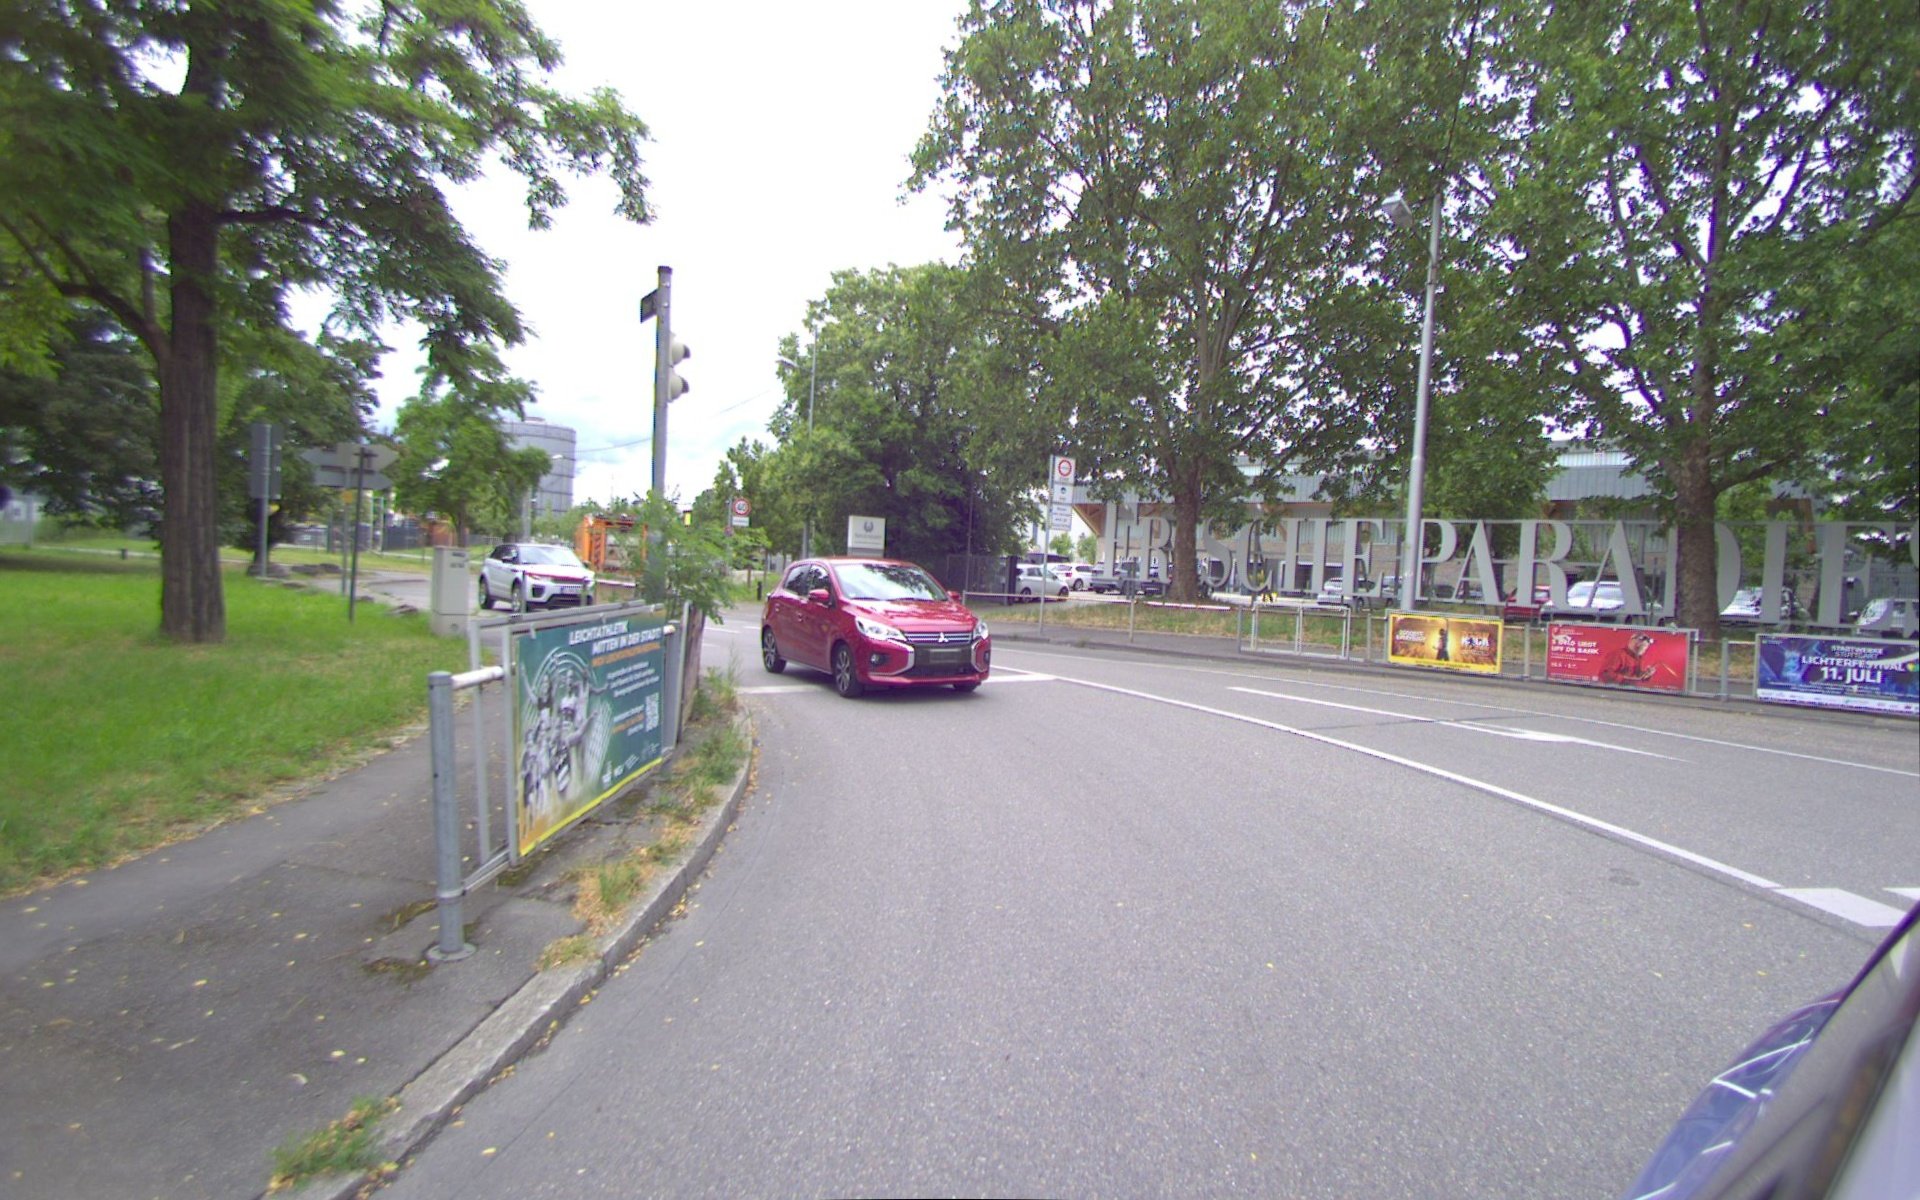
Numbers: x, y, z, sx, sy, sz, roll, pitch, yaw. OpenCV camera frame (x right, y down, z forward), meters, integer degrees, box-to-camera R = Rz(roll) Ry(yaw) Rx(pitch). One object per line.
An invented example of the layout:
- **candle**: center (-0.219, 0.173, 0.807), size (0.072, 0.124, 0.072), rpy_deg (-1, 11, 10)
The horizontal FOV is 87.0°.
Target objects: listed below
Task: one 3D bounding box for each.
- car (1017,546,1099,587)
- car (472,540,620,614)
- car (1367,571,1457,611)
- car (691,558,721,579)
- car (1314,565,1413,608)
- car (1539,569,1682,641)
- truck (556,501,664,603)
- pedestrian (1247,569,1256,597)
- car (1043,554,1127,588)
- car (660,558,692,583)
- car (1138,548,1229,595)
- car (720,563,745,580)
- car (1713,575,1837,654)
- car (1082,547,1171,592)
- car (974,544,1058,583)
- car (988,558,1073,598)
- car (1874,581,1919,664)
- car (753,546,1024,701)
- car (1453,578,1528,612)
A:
- **car**: center (5.594, -1.899, 57.289), size (4.560, 2.038, 1.997), rpy_deg (2, 2, -42)
- **car**: center (-9.692, -0.609, 23.576), size (2.013, 1.554, 3.936), rpy_deg (-3, 4, -41)
- **car**: center (20.582, -0.411, 45.979), size (4.560, 1.580, 1.997), rpy_deg (2, 2, -42)
- **car**: center (-19.296, -2.373, 76.947), size (1.682, 1.424, 3.376), rpy_deg (3, 1, -6)
- **car**: center (17.072, -0.545, 42.698), size (4.560, 1.580, 1.997), rpy_deg (2, 2, -42)
- **car**: center (17.041, 0.146, 26.433), size (4.445, 1.633, 1.882), rpy_deg (3, 2, -41)
- **truck**: center (-14.601, -1.880, 41.587), size (2.740, 3.570, 10.440), rpy_deg (2, 1, -27)
- **pedestrian**: center (19.350, -1.129, 67.171), size (0.338, 1.787, 0.434), rpy_deg (4, 0, 25)
- **car**: center (6.788, -1.576, 54.651), size (4.560, 1.577, 1.997), rpy_deg (2, 2, -42)
- **car**: center (-18.854, -1.940, 67.280), size (1.681, 1.508, 3.378), rpy_deg (3, 1, -10)
- **car**: center (10.973, -1.366, 49.449), size (4.560, 2.038, 1.997), rpy_deg (2, 2, -42)
- **car**: center (-19.808, -2.484, 88.089), size (1.682, 1.424, 3.376), rpy_deg (3, 1, -6)
- **car**: center (19.100, 0.358, 23.651), size (4.244, 1.633, 1.589), rpy_deg (2, 2, -43)
- **car**: center (8.552, -1.549, 51.832), size (4.560, 2.038, 1.997), rpy_deg (2, 2, -42)
- **car**: center (3.360, -2.163, 60.386), size (5.014, 2.023, 1.997), rpy_deg (2, 2, -42)
- **car**: center (3.018, -0.918, 42.788), size (1.477, 1.523, 3.670), rpy_deg (5, 2, 44)
- **car**: center (20.893, 0.534, 21.634), size (3.932, 1.633, 1.589), rpy_deg (2, 2, -43)
- **car**: center (-1.012, 0.146, 11.908), size (1.698, 1.483, 3.841), rpy_deg (1, 3, -29)
- **car**: center (28.099, -0.237, 53.566), size (4.560, 1.580, 1.997), rpy_deg (2, 2, -42)
